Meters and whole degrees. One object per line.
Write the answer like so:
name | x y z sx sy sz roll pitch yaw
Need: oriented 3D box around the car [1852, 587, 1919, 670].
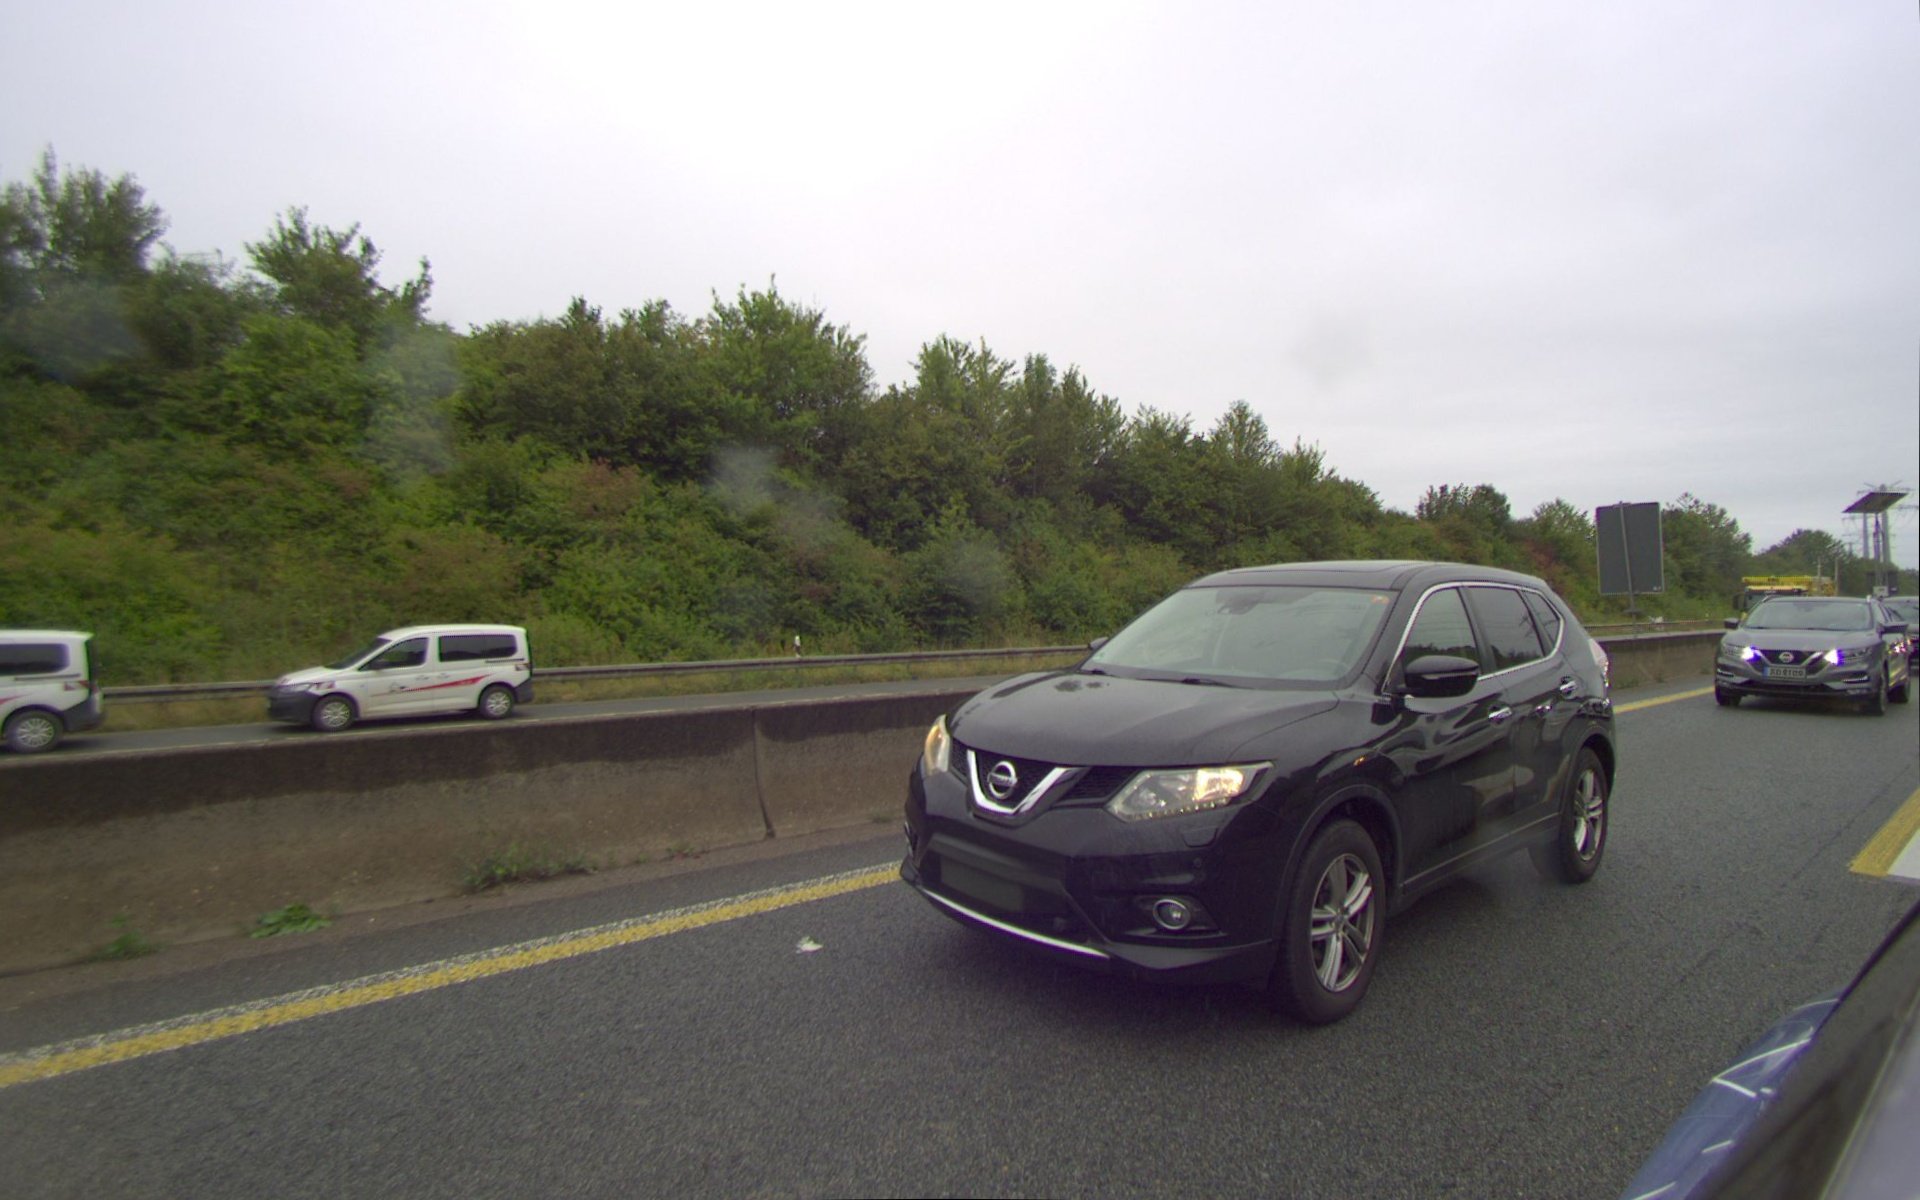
car | 20.203 0.533 21.239 4.053 1.618 1.782 -1 1 -42

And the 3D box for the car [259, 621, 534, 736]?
car | -10.489 1.356 19.029 4.255 1.792 1.731 -1 1 -42

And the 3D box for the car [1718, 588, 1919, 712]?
car | 12.376 0.595 14.433 4.053 1.509 1.782 -1 1 -42

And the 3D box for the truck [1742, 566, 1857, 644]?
truck | 40.555 0.160 48.747 9.405 3.467 2.618 -1 1 -40

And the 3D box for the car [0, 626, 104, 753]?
car | -15.303 1.353 14.826 4.195 1.780 1.731 -1 1 -42

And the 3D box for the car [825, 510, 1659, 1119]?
car | 1.750 0.566 5.058 4.561 1.696 1.892 -1 1 -42
